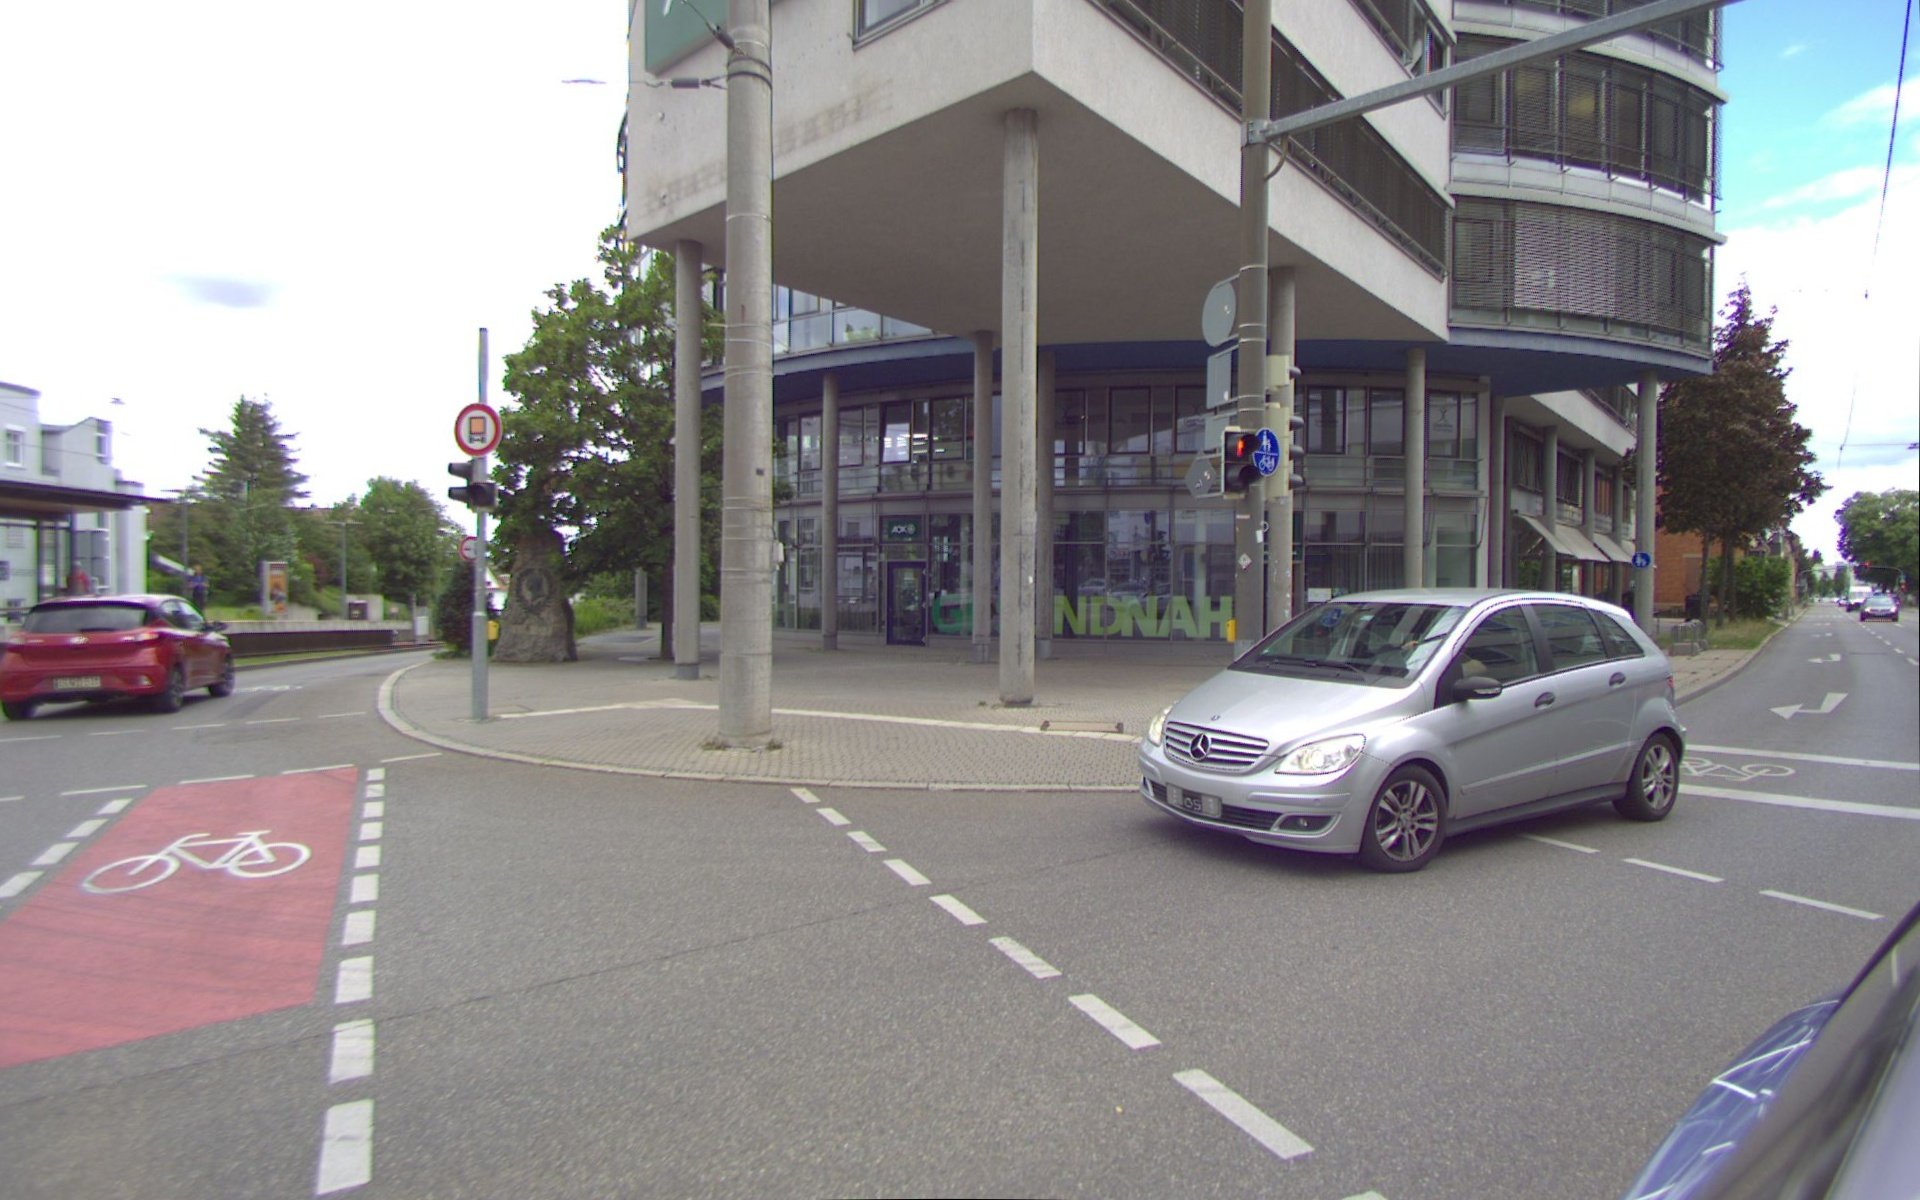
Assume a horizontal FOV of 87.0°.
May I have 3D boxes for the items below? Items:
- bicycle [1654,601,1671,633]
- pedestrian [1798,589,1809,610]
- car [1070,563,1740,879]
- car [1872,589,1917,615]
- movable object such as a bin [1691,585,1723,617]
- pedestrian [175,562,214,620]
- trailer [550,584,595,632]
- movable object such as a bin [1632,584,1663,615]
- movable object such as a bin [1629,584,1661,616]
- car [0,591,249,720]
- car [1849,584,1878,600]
[{"bbox_3d":[25.937,0.615,37.342,0.360,1.100,1.999,-1,0,39],"label":"bicycle"},{"bbox_3d":[69.159,-0.042,82.996,0.687,1.752,0.640,1,1,40],"label":"pedestrian"},{"bbox_3d":[3.180,0.578,7.031,4.480,1.566,2.001,-1,-1,-31],"label":"car"},{"bbox_3d":[57.526,0.100,62.336,1.959,1.545,4.502,1,1,42],"label":"car"},{"bbox_3d":[36.703,0.029,49.720,1.126,1.483,1.392,3,2,40],"label":"movable object such as a bin"},{"bbox_3d":[-23.367,-0.278,30.899,0.773,1.740,0.691,0,-1,-21],"label":"pedestrian"},{"bbox_3d":[-22.202,0.407,58.123,1.844,2.646,4.332,-1,1,-14],"label":"trailer"},{"bbox_3d":[34.013,-0.045,50.048,1.120,1.483,1.314,3,2,40],"label":"movable object such as a bin"},{"bbox_3d":[33.168,-0.023,49.006,1.096,1.483,1.314,3,2,40],"label":"movable object such as a bin"},{"bbox_3d":[-11.073,0.638,13.620,1.668,1.471,4.007,0,0,-23],"label":"car"},{"bbox_3d":[90.262,-0.840,101.124,1.957,1.545,4.507,1,1,39],"label":"car"}]
